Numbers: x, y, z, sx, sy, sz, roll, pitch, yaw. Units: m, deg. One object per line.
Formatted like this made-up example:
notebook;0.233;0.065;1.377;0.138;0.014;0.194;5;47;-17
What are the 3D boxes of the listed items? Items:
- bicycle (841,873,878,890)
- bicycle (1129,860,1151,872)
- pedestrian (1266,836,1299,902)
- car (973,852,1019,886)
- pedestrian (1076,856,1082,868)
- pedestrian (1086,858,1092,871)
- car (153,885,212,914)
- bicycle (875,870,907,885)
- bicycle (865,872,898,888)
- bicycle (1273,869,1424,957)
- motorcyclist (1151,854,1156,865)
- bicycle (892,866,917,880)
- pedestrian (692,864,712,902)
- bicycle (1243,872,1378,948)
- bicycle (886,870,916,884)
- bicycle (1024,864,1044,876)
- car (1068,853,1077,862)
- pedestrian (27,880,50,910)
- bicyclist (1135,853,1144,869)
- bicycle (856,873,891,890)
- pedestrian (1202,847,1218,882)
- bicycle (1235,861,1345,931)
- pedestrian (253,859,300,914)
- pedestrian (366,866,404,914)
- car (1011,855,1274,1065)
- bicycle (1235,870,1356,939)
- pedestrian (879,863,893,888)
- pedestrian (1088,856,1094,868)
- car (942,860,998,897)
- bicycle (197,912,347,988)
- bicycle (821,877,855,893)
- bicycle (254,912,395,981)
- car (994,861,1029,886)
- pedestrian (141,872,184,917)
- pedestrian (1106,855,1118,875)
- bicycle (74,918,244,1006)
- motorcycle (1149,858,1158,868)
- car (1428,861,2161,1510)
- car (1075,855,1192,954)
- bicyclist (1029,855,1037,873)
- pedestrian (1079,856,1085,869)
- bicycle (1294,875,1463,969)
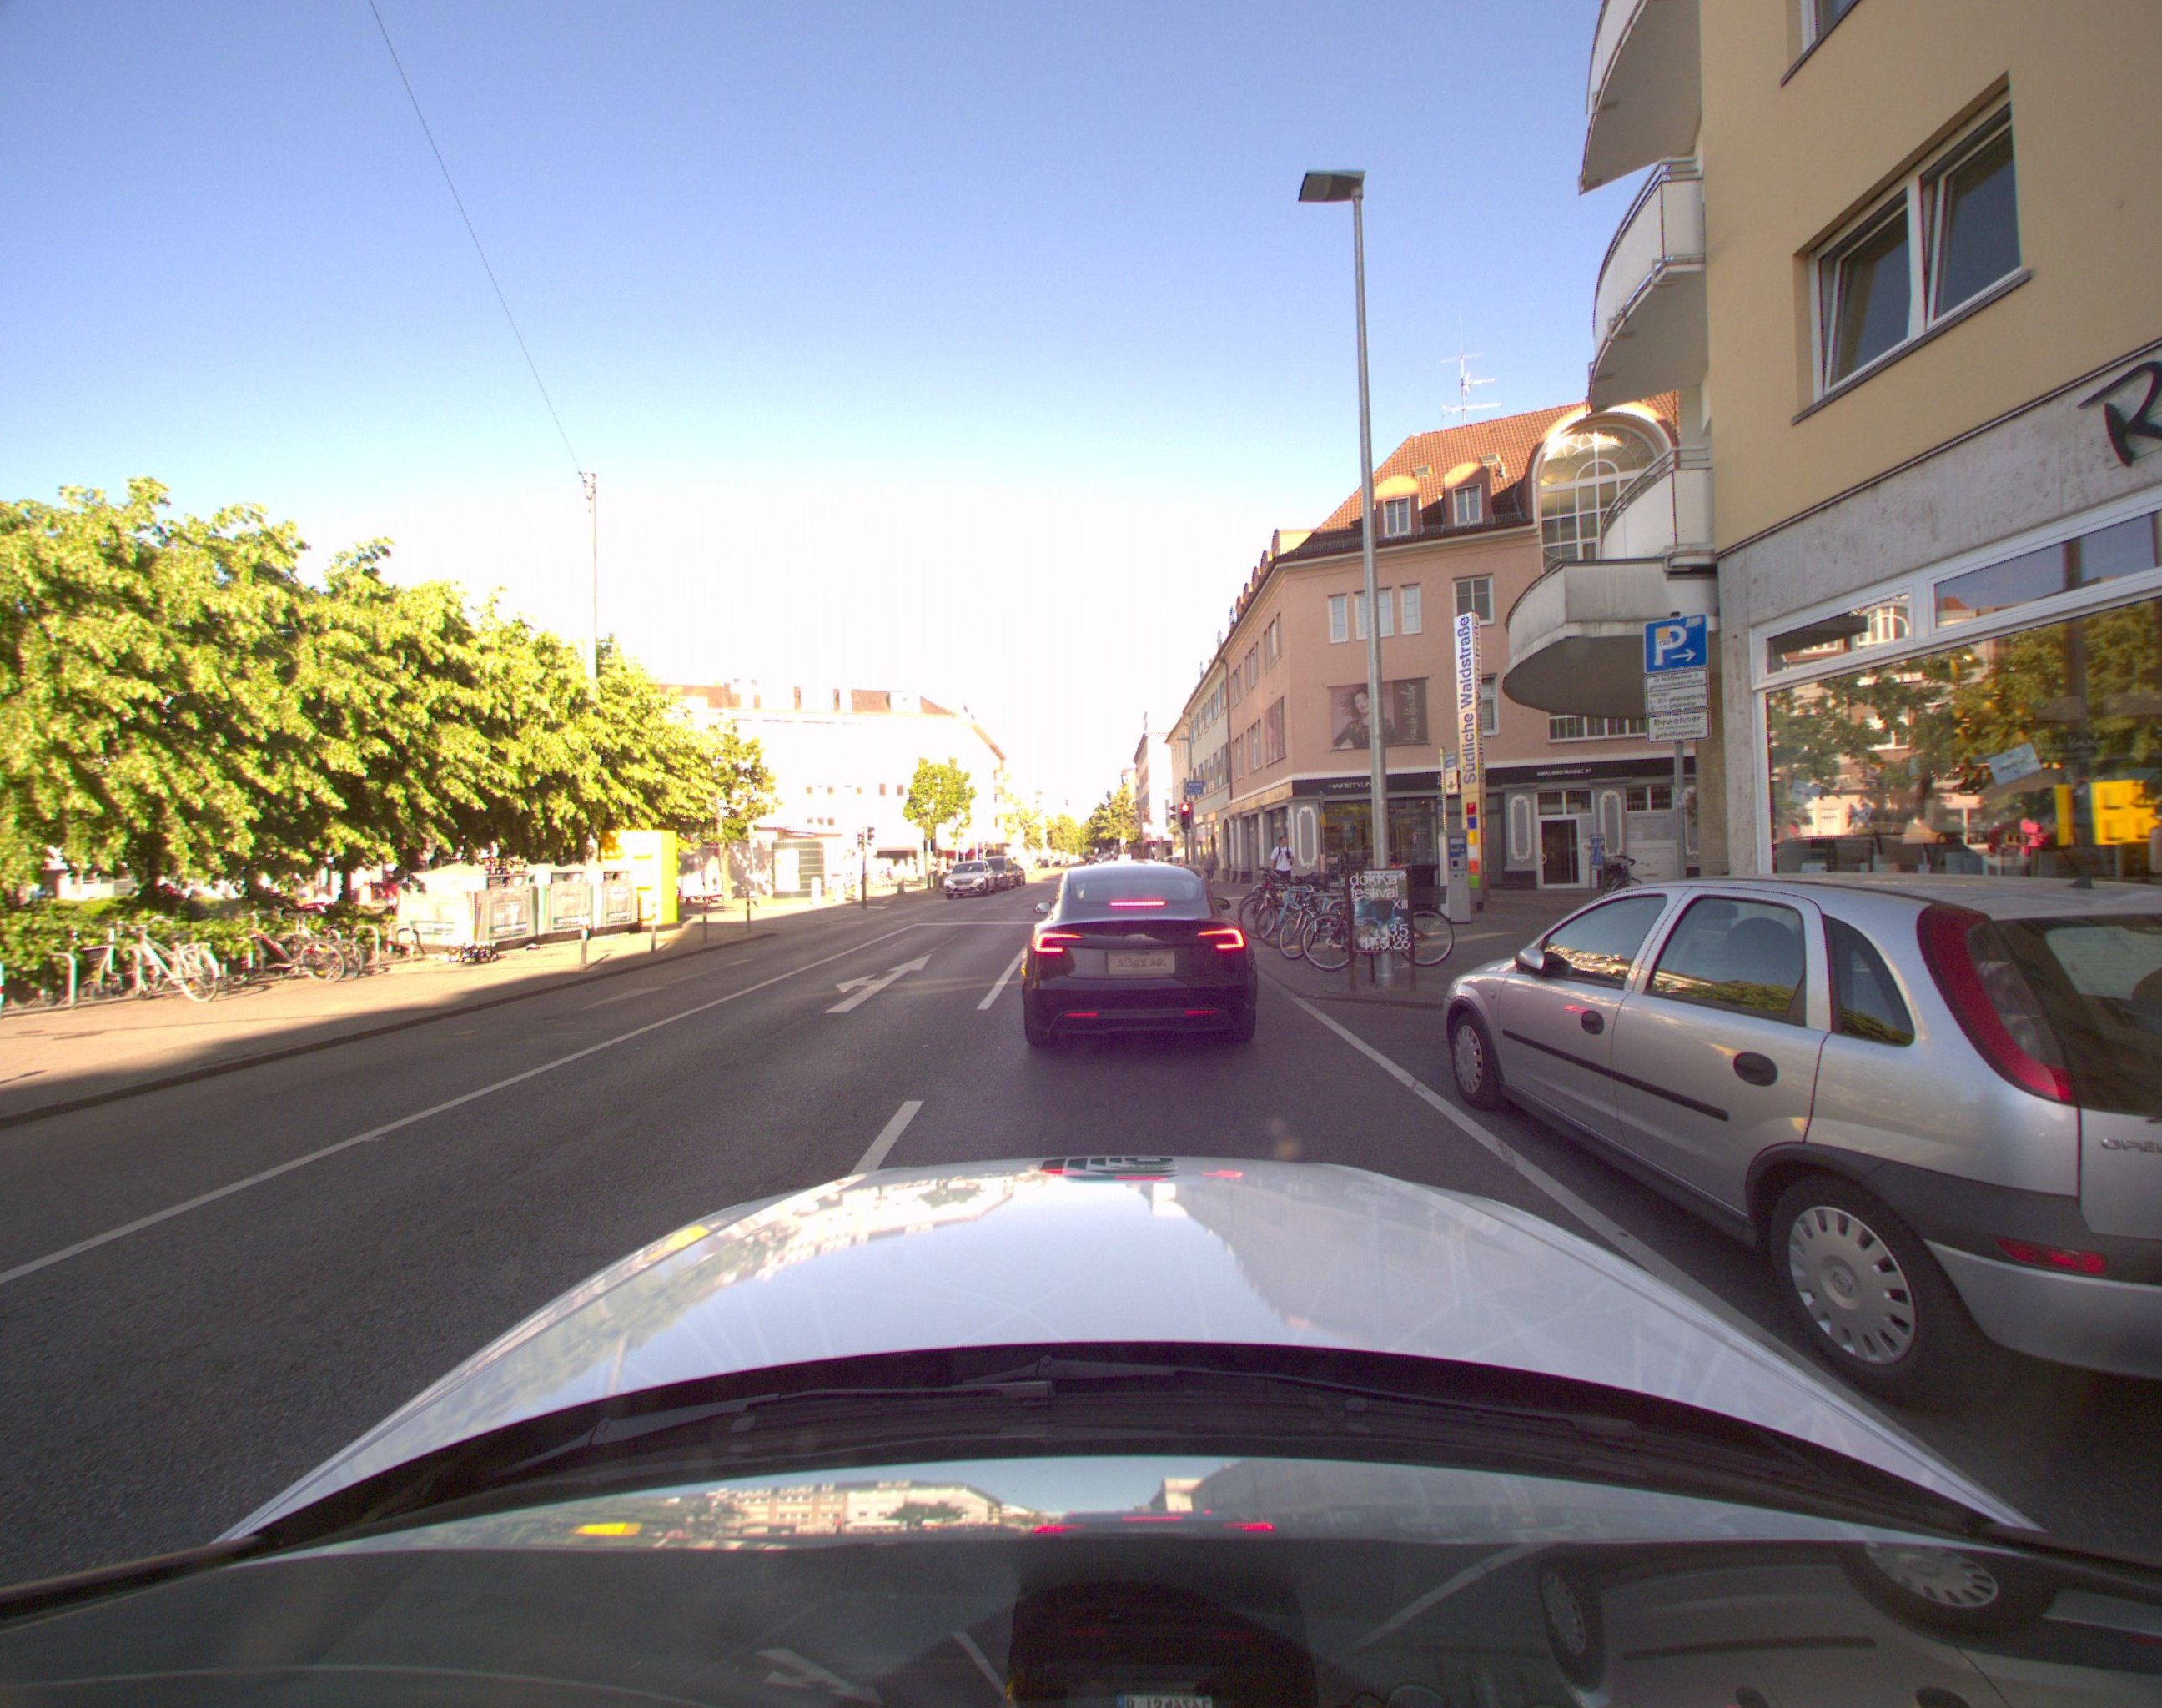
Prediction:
bicycle;-12.410;1.554;45.649;1.857;0.934;0.606;-1;-1;0
bicycle;5.144;1.029;70.957;1.787;1.007;0.469;0;-1;-15
pedestrian;5.488;0.407;22.174;0.747;1.765;0.838;0;-1;6
car;-4.420;0.738;42.819;1.780;1.646;4.404;-1;0;2
pedestrian;-0.230;0.908;93.514;0.474;1.417;0.517;0;-1;-29
pedestrian;0.978;1.203;94.012;0.524;1.422;0.475;0;-1;-28
car;-47.932;2.389;43.436;3.526;1.386;1.703;-1;0;36
bicycle;-12.273;1.534;52.606;1.857;0.934;0.606;-1;0;0
bicycle;-12.289;1.589;50.262;1.857;0.934;0.606;0;-1;0
bicycle;3.643;0.804;11.172;1.864;1.087;0.415;-3;-1;5
motorcyclist;8.004;0.586;90.015;0.493;1.253;0.351;0;-1;-36
bicycle;-17.025;1.815;78.553;2.373;1.296;0.509;0;-1;-25
pedestrian;-17.126;1.307;36.802;0.472;1.716;0.713;-1;-1;13
bicycle;3.483;0.849;12.467;1.864;1.038;0.534;-3;-1;5
bicycle;-12.193;1.553;55.054;1.857;0.934;0.606;-1;0;0
bicycle;-3.985;1.353;69.103;1.562;1.012;0.480;0;-1;-22
car;-1.919;0.898;187.397;1.986;2.013;4.002;-1;0;2
pedestrian;-77.724;3.068;60.713;0.891;2.171;0.882;-1;-1;26
bicyclist;5.070;0.603;70.942;0.670;1.395;0.460;0;-1;-14
bicycle;-12.165;1.612;47.783;1.857;0.934;0.606;0;-1;0
pedestrian;6.531;0.537;41.357;0.704;1.742;0.540;-1;0;1
bicycle;3.772;0.758;14.787;1.818;1.169;0.507;-3;-1;7
pedestrian;-30.219;1.197;30.599;0.890;2.013;0.893;-1;0;15
pedestrian;-25.363;1.292;29.672;0.754;1.698;0.793;-1;0;25
car;0.491;0.759;7.716;1.815;1.442;4.001;-1;-1;2
bicycle;3.575;0.838;13.670;1.863;1.038;0.548;-3;-1;7
pedestrian;-15.775;1.748;65.780;1.060;2.014;1.049;0;-1;-18
pedestrian;1.190;0.948;93.459;0.524;1.422;0.475;0;-1;-28
car;-4.899;1.045;36.383;1.782;1.460;3.759;-4;-1;2
bicycle;-11.544;1.346;11.633;1.913;1.003;0.518;-1;-1;11
bicycle;-12.844;1.630;43.079;1.640;0.792;0.606;0;-1;-3
bicycle;-11.327;1.369;12.200;1.888;0.955;0.518;-1;-1;11
car;-4.266;1.167;50.272;1.709;1.446;3.846;0;-1;2
pedestrian;-43.051;1.879;38.165;1.145;2.013;1.040;-1;0;26
pedestrian;2.580;0.939;68.009;0.756;1.631;0.951;0;-1;-16
bicycle;-11.629;1.337;10.276;1.919;1.015;0.518;-1;-1;12
motorcycle;8.004;0.943;90.007;0.985;1.086;0.352;-1;0;-35
car;2.952;0.743;3.514;1.540;1.390;3.479;-1;-1;3
car;0.789;0.746;13.969;1.712;1.425;3.757;-1;0;0
bicyclist;-4.101;0.841;69.064;0.525;1.503;0.473;0;-1;-22
pedestrian;0.163;0.996;92.692;0.524;1.422;0.475;0;-1;-28
bicycle;3.631;0.835;10.026;1.862;1.038;0.354;-3;-1;8
